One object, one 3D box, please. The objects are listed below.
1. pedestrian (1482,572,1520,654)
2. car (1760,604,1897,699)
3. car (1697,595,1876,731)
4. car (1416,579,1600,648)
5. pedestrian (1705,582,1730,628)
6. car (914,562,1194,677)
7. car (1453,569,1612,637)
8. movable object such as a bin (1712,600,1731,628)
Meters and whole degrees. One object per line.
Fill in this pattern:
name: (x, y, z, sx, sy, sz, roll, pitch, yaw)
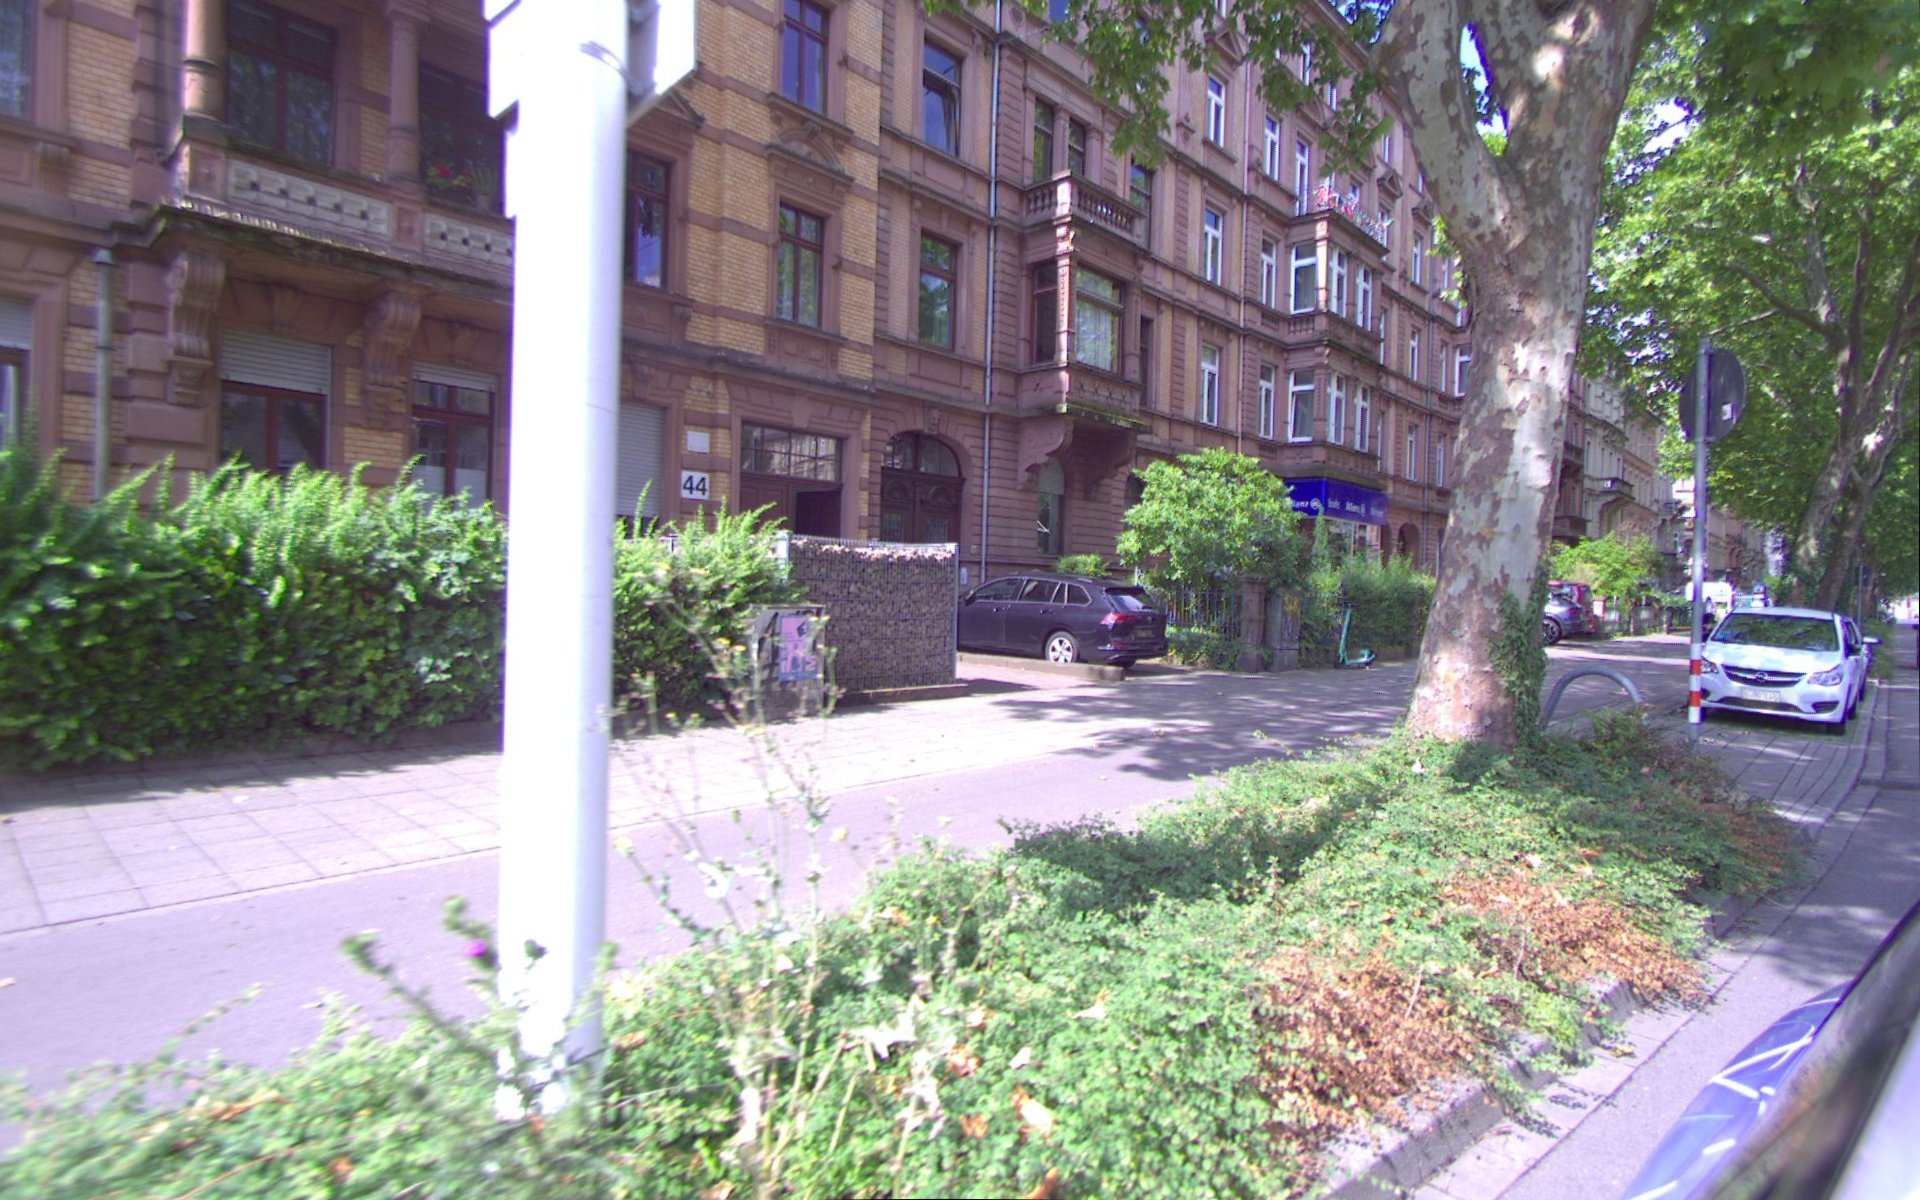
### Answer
pedestrian: (12.144, 0.284, 22.710, 0.564, 1.808, 0.620, 2, 0, 44)
car: (15.660, 0.843, 18.192, 1.678, 1.462, 3.798, 2, 1, 43)
car: (11.051, 0.726, 13.441, 1.554, 1.504, 3.798, 2, 1, 43)
car: (16.789, 0.356, 31.112, 4.709, 1.804, 1.979, 3, 2, 37)
pedestrian: (34.463, 0.216, 46.036, 0.763, 2.038, 1.104, 5, 2, 39)
car: (1.412, 0.224, 16.371, 4.237, 1.487, 1.911, 4, 3, 44)
car: (20.019, 0.062, 35.522, 4.401, 1.962, 1.952, 6, 3, 44)
movable object such as a bin: (35.033, 0.634, 46.579, 0.606, 1.224, 1.044, 5, 2, 38)
